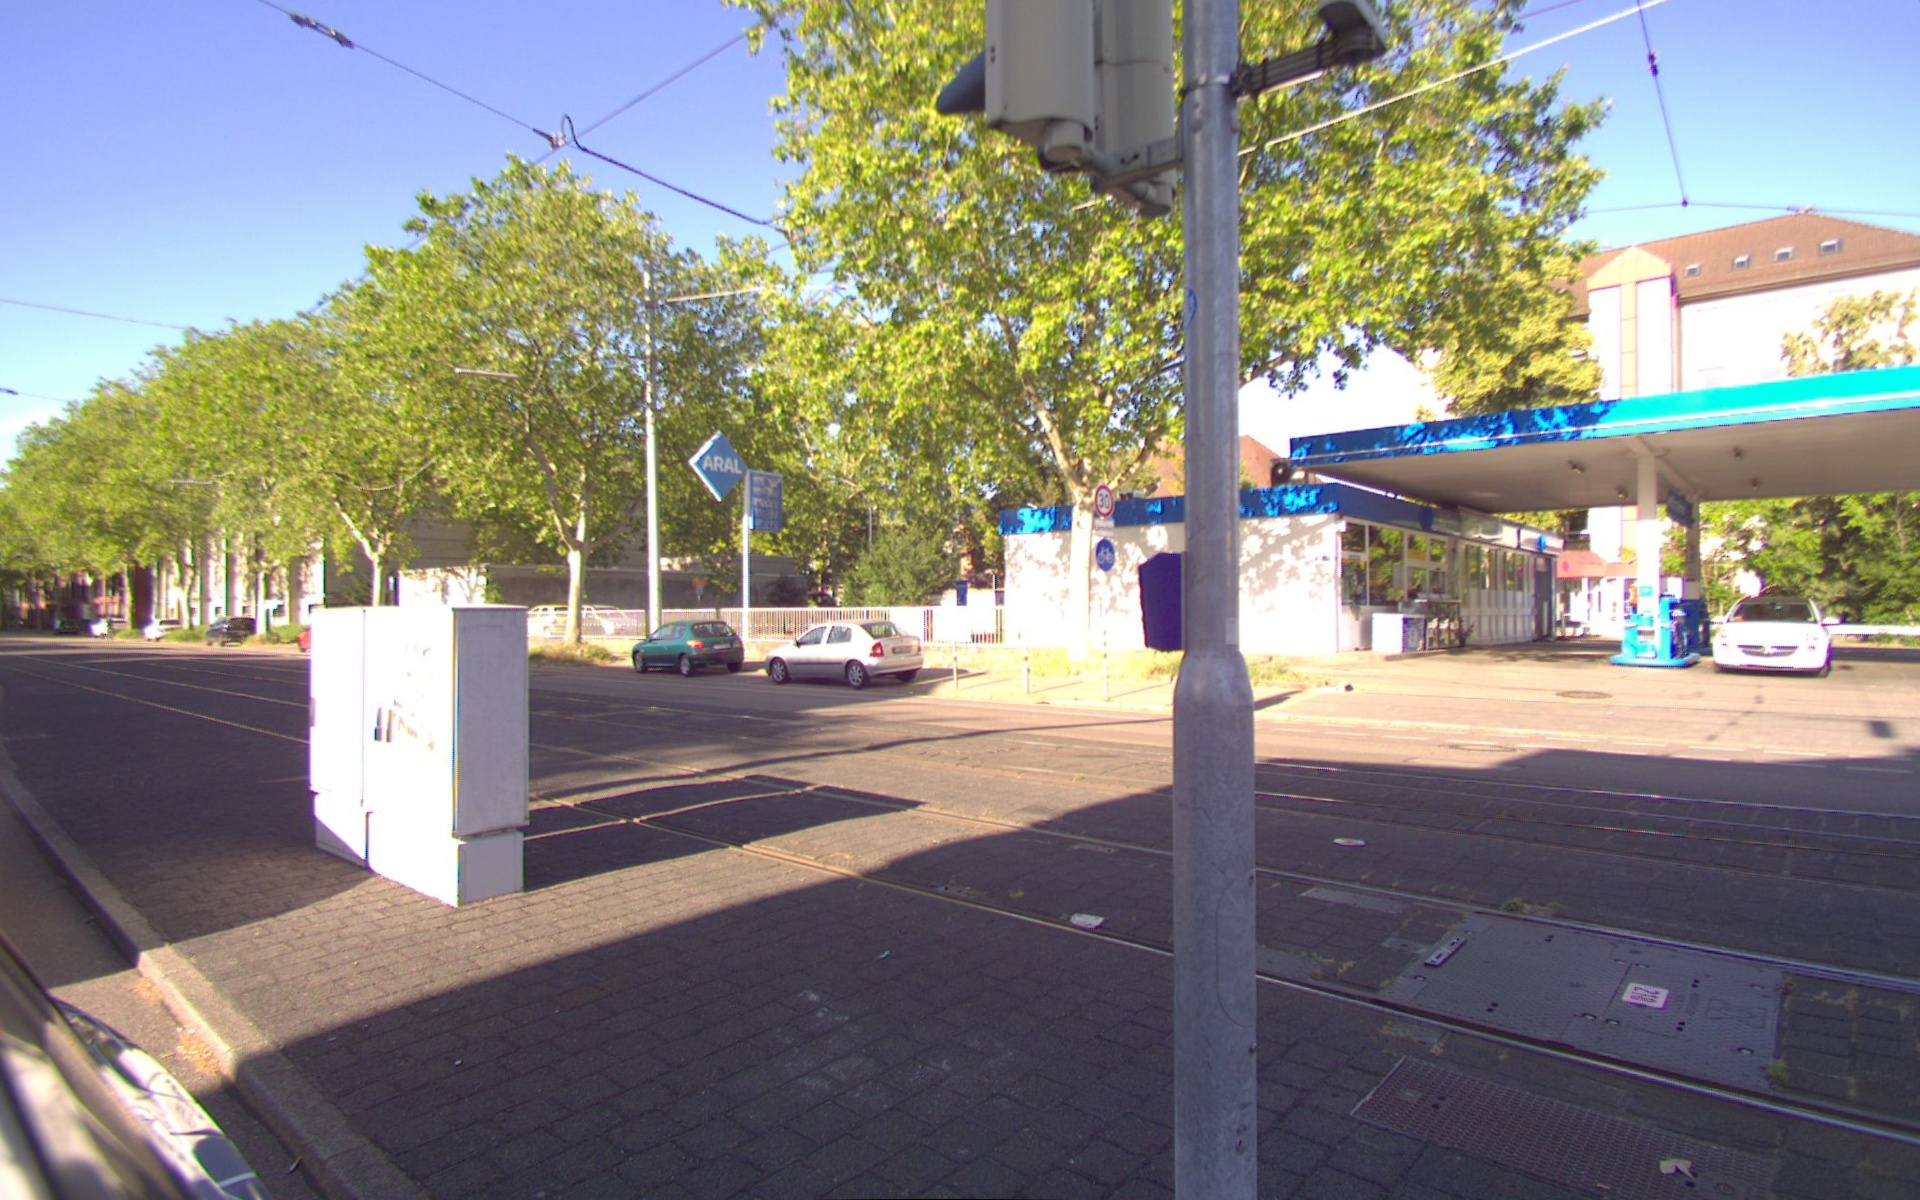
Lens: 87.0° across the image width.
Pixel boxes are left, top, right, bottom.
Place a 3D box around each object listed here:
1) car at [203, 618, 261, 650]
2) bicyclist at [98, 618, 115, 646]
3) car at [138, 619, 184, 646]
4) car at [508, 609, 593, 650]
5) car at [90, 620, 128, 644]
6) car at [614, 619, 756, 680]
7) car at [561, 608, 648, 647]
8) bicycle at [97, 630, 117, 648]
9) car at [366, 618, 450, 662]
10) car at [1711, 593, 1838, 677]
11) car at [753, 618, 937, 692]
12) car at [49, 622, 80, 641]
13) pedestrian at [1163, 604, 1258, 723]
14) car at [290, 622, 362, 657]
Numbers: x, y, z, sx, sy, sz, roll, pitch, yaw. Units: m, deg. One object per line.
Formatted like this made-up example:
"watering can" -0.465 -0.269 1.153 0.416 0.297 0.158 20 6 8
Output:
"car" -40.656 1.885 56.481 4.098 1.628 1.821 -1 1 44
"bicyclist" -57.674 2.128 68.403 1.070 1.878 0.711 -1 -2 41
"car" -53.839 2.160 68.206 4.098 1.686 1.821 -1 1 44
"car" -17.134 1.194 42.279 4.002 1.545 1.820 -1 1 45
"car" -66.943 2.489 79.578 4.098 1.686 1.821 -1 1 44
"car" -7.430 1.274 27.134 4.138 1.418 1.820 -1 1 45
"car" -15.393 1.171 43.772 3.999 1.545 1.822 -1 1 42
"bicycle" -57.706 2.623 68.434 2.532 1.129 0.645 -1 -1 41
"car" -21.965 1.540 40.186 4.002 1.545 1.820 -1 1 45
"car" 16.021 0.641 19.867 1.780 1.475 3.946 -1 -1 40
"car" -2.623 1.176 22.644 3.997 1.418 1.823 -1 1 40
"car" -85.039 2.947 96.102 4.098 1.686 1.821 -1 1 44
"pedestrian" 3.564 0.888 14.422 1.087 1.631 0.718 1 -2 -15
"car" -28.965 1.773 46.179 4.001 1.418 1.821 -1 1 44
